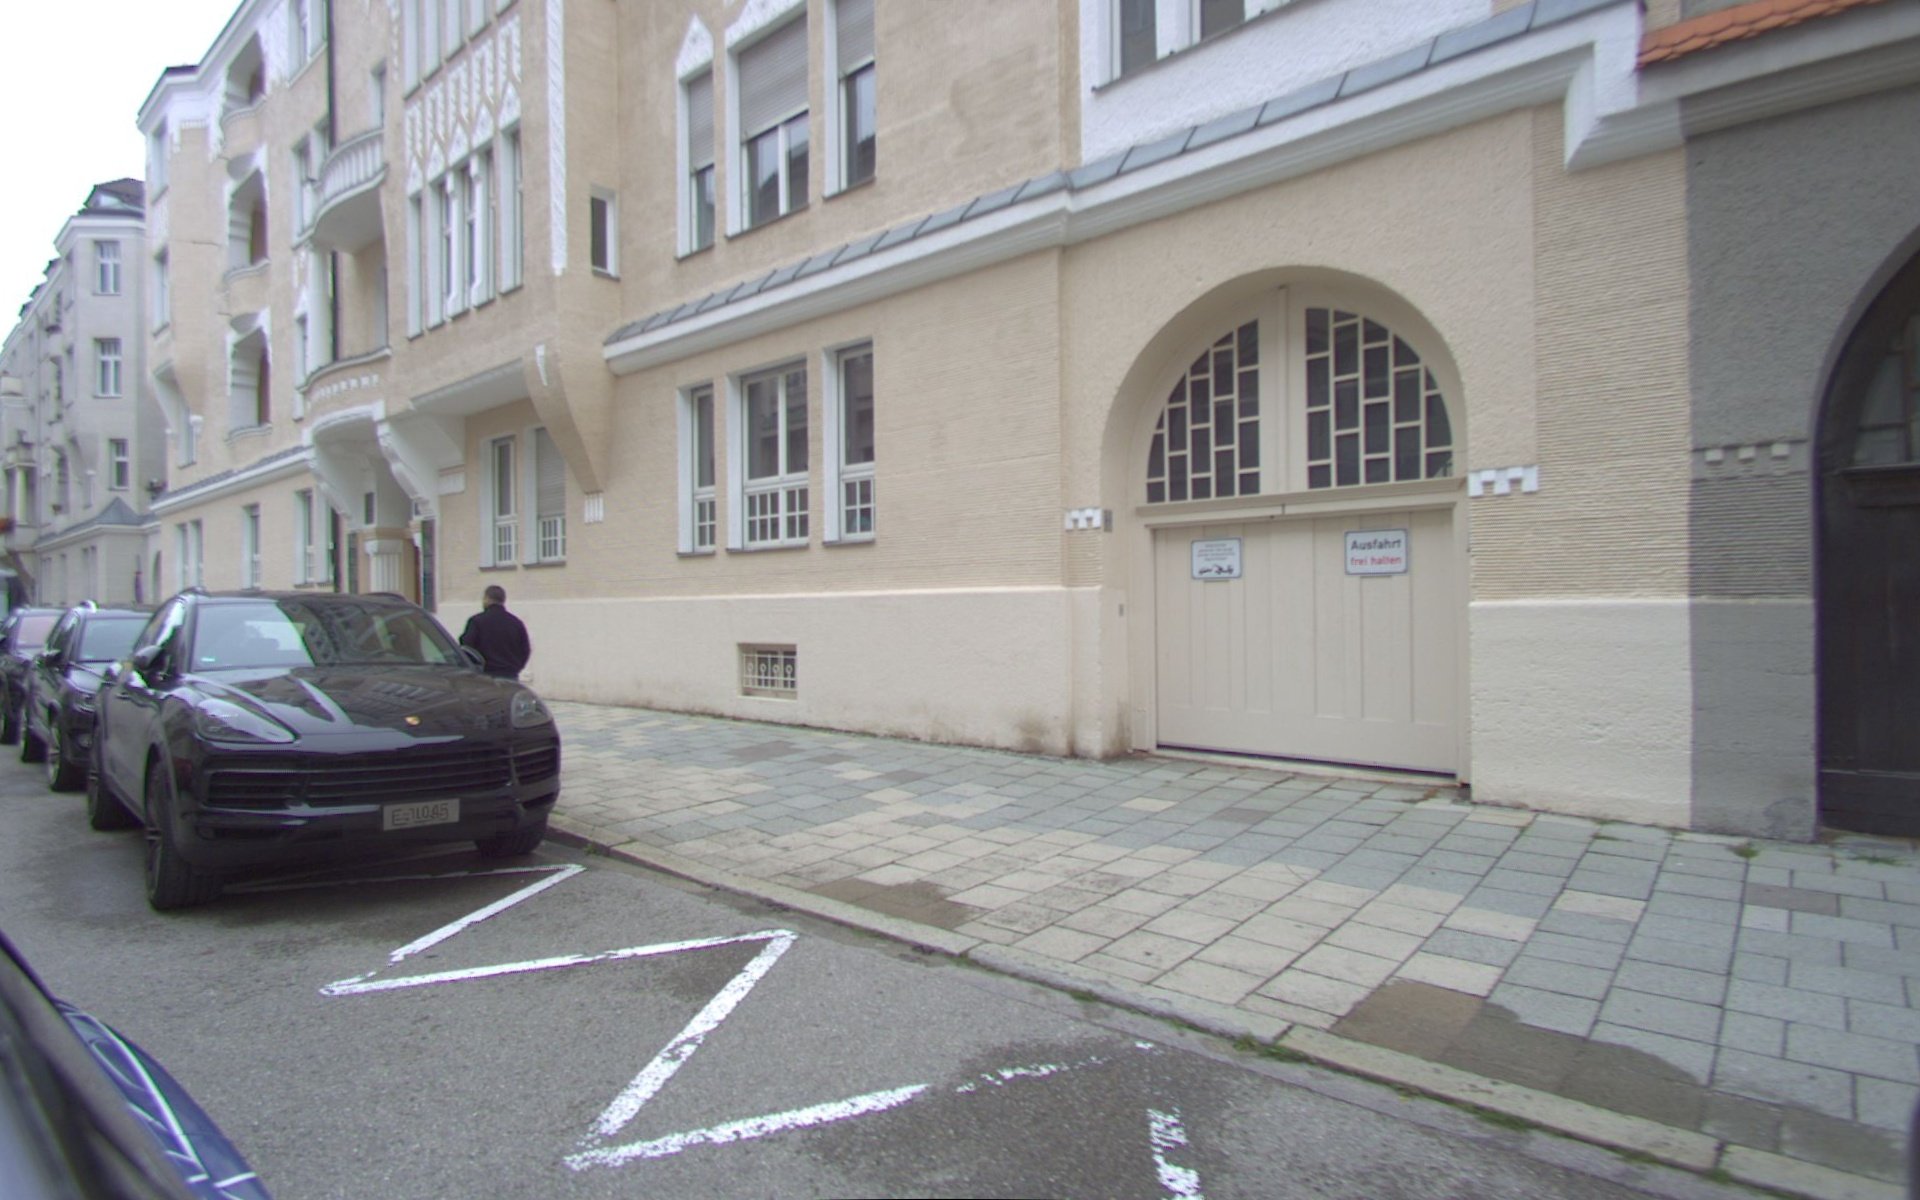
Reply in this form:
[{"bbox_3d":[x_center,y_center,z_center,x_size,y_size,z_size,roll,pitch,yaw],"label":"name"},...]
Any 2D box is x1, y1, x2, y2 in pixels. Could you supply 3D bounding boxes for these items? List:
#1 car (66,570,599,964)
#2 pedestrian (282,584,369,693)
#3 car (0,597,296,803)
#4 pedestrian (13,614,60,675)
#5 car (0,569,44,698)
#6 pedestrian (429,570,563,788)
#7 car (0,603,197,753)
[{"bbox_3d":[-4.348,0.730,6.617,4.619,1.671,1.929,-1,0,45],"label":"car"},{"bbox_3d":[-10.603,0.620,16.913,0.939,1.742,0.982,-1,0,41],"label":"pedestrian"},{"bbox_3d":[-8.295,0.831,10.202,4.101,1.655,1.713,-1,0,42],"label":"car"},{"bbox_3d":[-24.181,1.150,26.495,1.013,1.534,0.707,-1,0,35],"label":"pedestrian"},{"bbox_3d":[-22.030,0.710,22.393,5.678,2.641,2.076,-1,-2,43],"label":"car"},{"bbox_3d":[-4.077,0.653,8.901,0.740,1.803,0.826,-1,0,41],"label":"pedestrian"},{"bbox_3d":[-11.907,0.912,13.532,4.458,1.661,1.853,-1,0,41],"label":"car"}]
